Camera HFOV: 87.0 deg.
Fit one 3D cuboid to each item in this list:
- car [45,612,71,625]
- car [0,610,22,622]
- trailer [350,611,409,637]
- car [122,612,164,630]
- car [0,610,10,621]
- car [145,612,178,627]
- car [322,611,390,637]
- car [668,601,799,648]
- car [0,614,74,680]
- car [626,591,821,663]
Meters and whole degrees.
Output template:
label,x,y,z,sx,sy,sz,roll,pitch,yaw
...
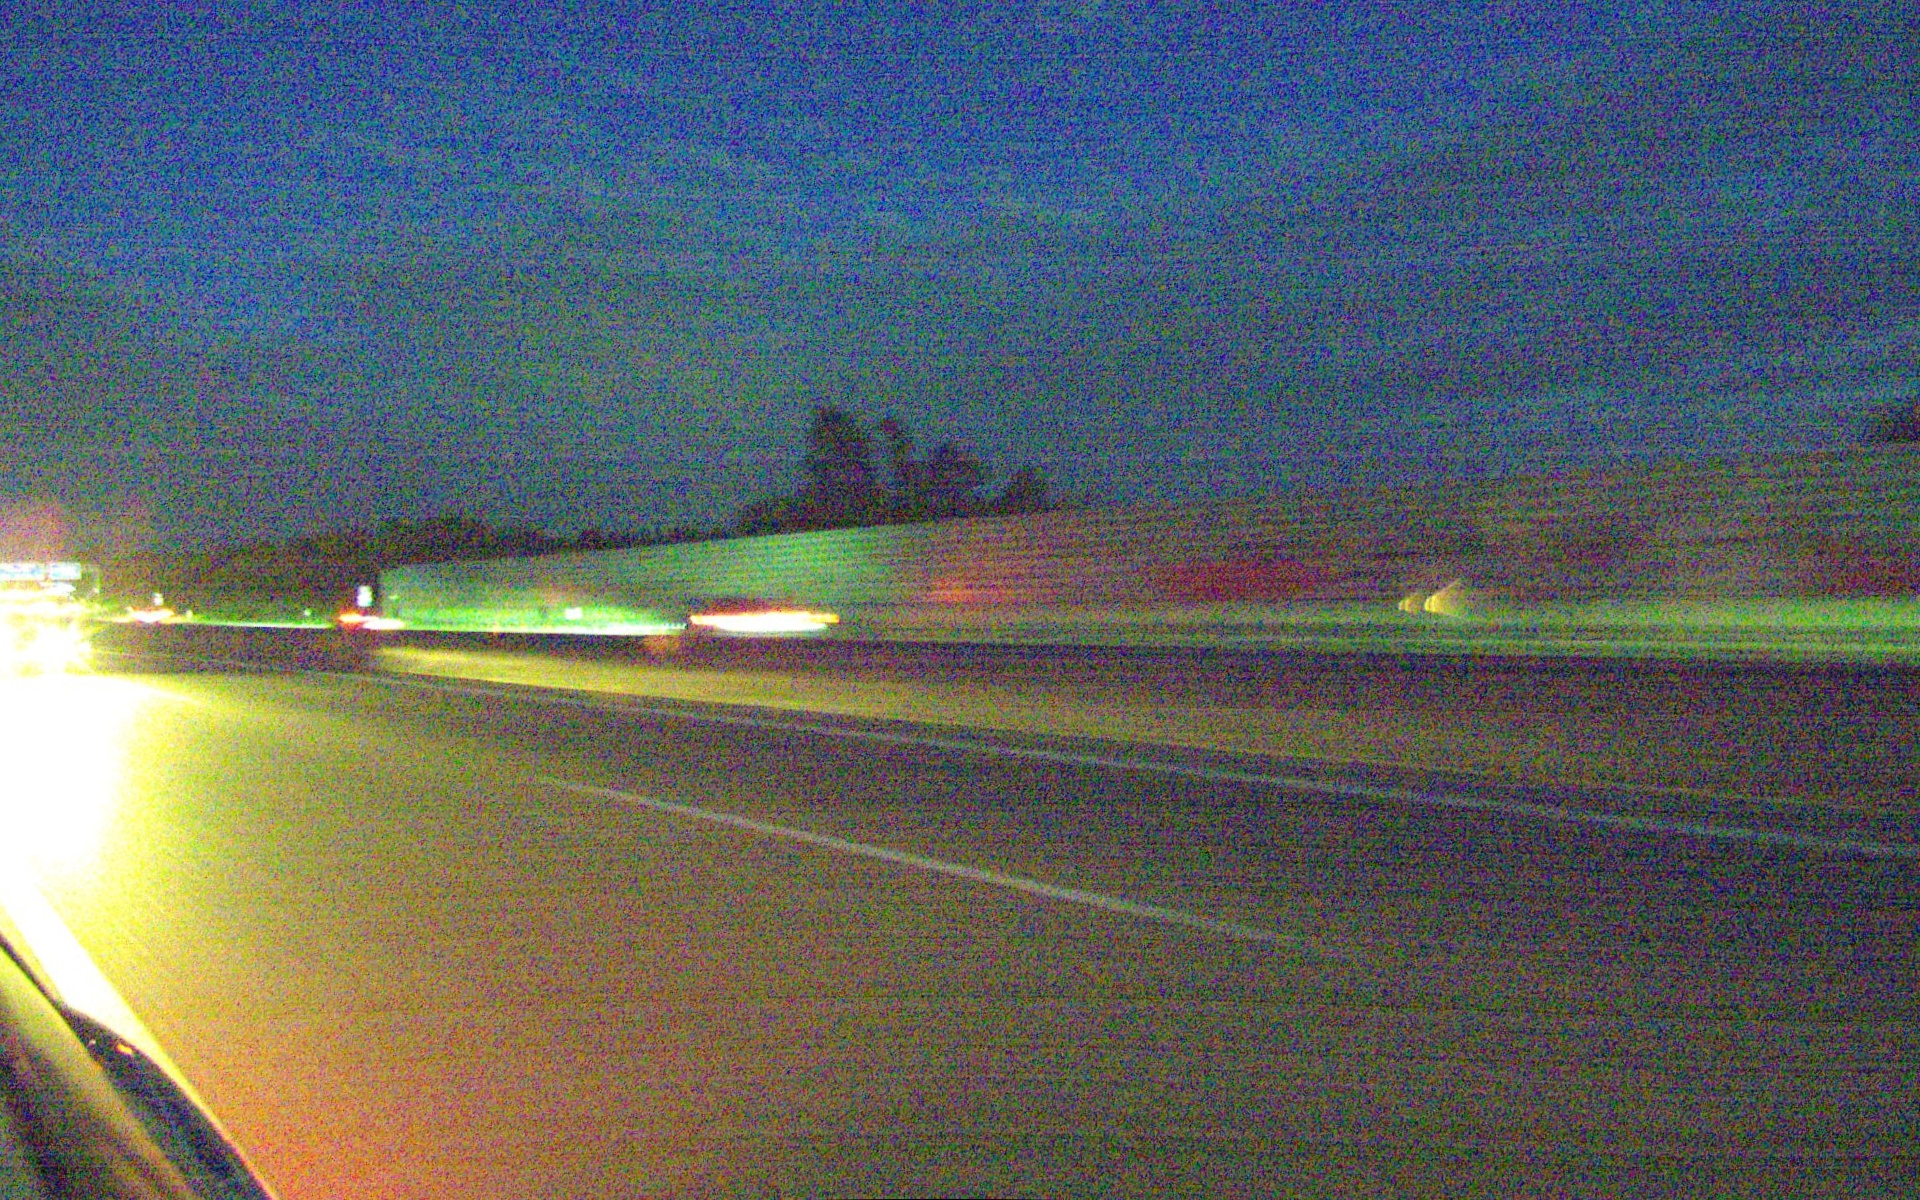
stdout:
label,x,y,z,sx,sy,sz,roll,pitch,yaw
car,-122.999,2.542,137.950,5.107,1.710,2.096,-1,0,41
car,-143.334,2.461,152.651,5.624,1.734,2.096,-1,0,41
trailer,-34.825,1.420,60.697,3.128,1.492,2.161,-1,1,42
car,-74.396,1.927,92.120,5.107,1.567,2.096,-1,0,41
car,-164.502,2.671,173.262,5.624,1.734,2.096,-1,0,41
car,-87.307,2.103,110.654,5.110,1.567,2.095,-1,0,44
car,-37.920,1.471,63.493,5.241,1.492,2.161,-1,1,42
car,-8.328,0.877,36.951,5.107,1.567,2.096,-1,0,41
car,-24.806,1.179,26.291,5.648,1.530,1.973,-1,0,41
car,-5.897,0.611,24.850,5.107,1.567,2.096,-1,0,41
